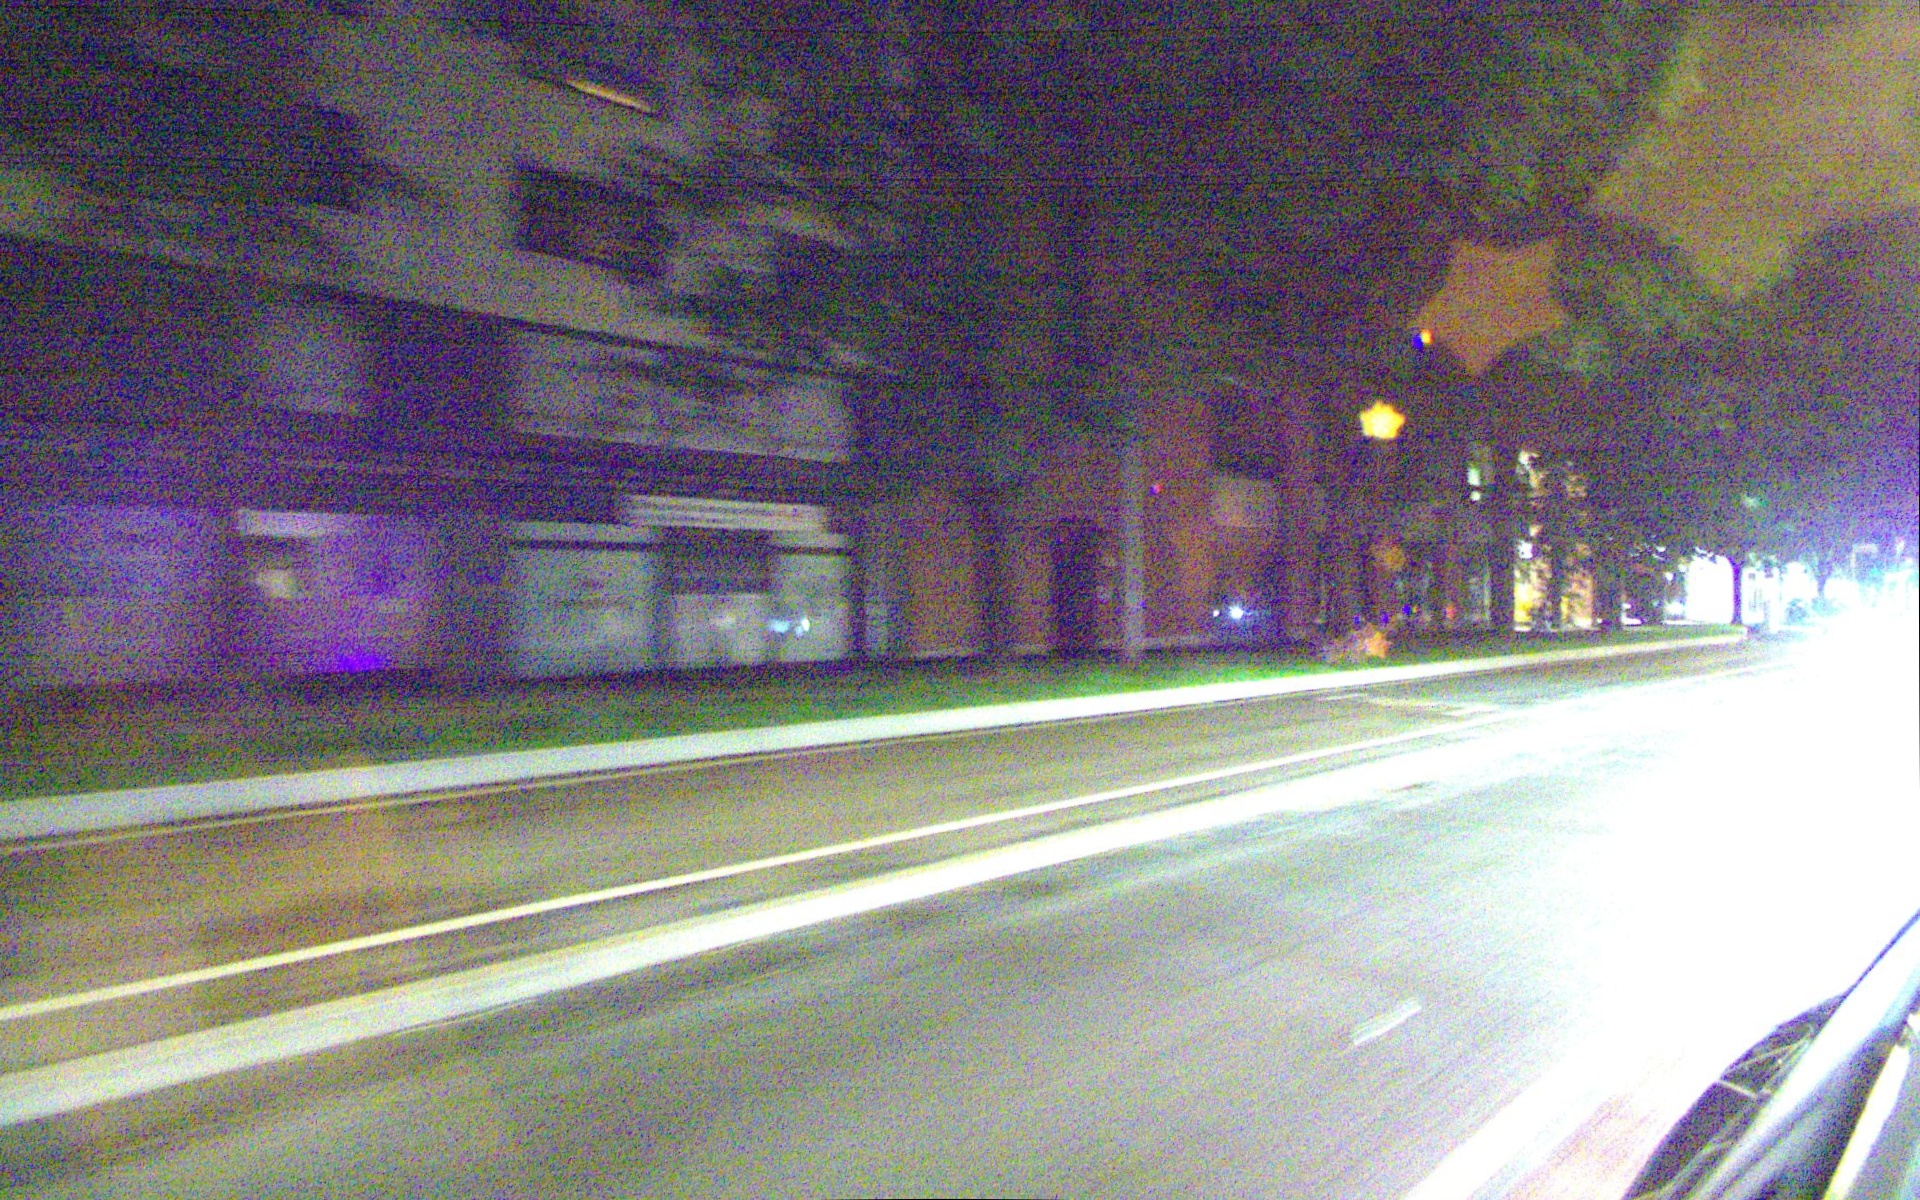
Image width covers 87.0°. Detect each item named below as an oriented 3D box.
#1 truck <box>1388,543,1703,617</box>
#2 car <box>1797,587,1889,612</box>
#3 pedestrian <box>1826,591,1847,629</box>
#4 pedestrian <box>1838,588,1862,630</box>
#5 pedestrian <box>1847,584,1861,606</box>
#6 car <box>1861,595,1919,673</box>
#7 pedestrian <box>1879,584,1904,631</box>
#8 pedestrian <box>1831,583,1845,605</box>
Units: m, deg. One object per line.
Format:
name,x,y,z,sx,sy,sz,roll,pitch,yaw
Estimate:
truck,35.231,-1.279,62.363,3.077,4.033,16.811,-1,2,-40
car,54.211,-0.058,62.187,1.756,1.472,4.089,-1,2,-41
pedestrian,36.607,0.401,42.277,0.622,1.553,0.573,0,1,-40
pedestrian,35.946,0.344,40.890,0.667,1.659,0.622,0,1,-40
pedestrian,71.665,-0.391,81.128,0.968,1.738,0.736,0,1,-40
car,19.915,0.635,20.627,4.419,1.448,1.727,-1,0,-41
pedestrian,36.468,0.287,39.613,0.746,1.834,0.623,0,1,-40
pedestrian,71.189,-0.491,82.037,0.953,1.811,0.720,0,1,-40
